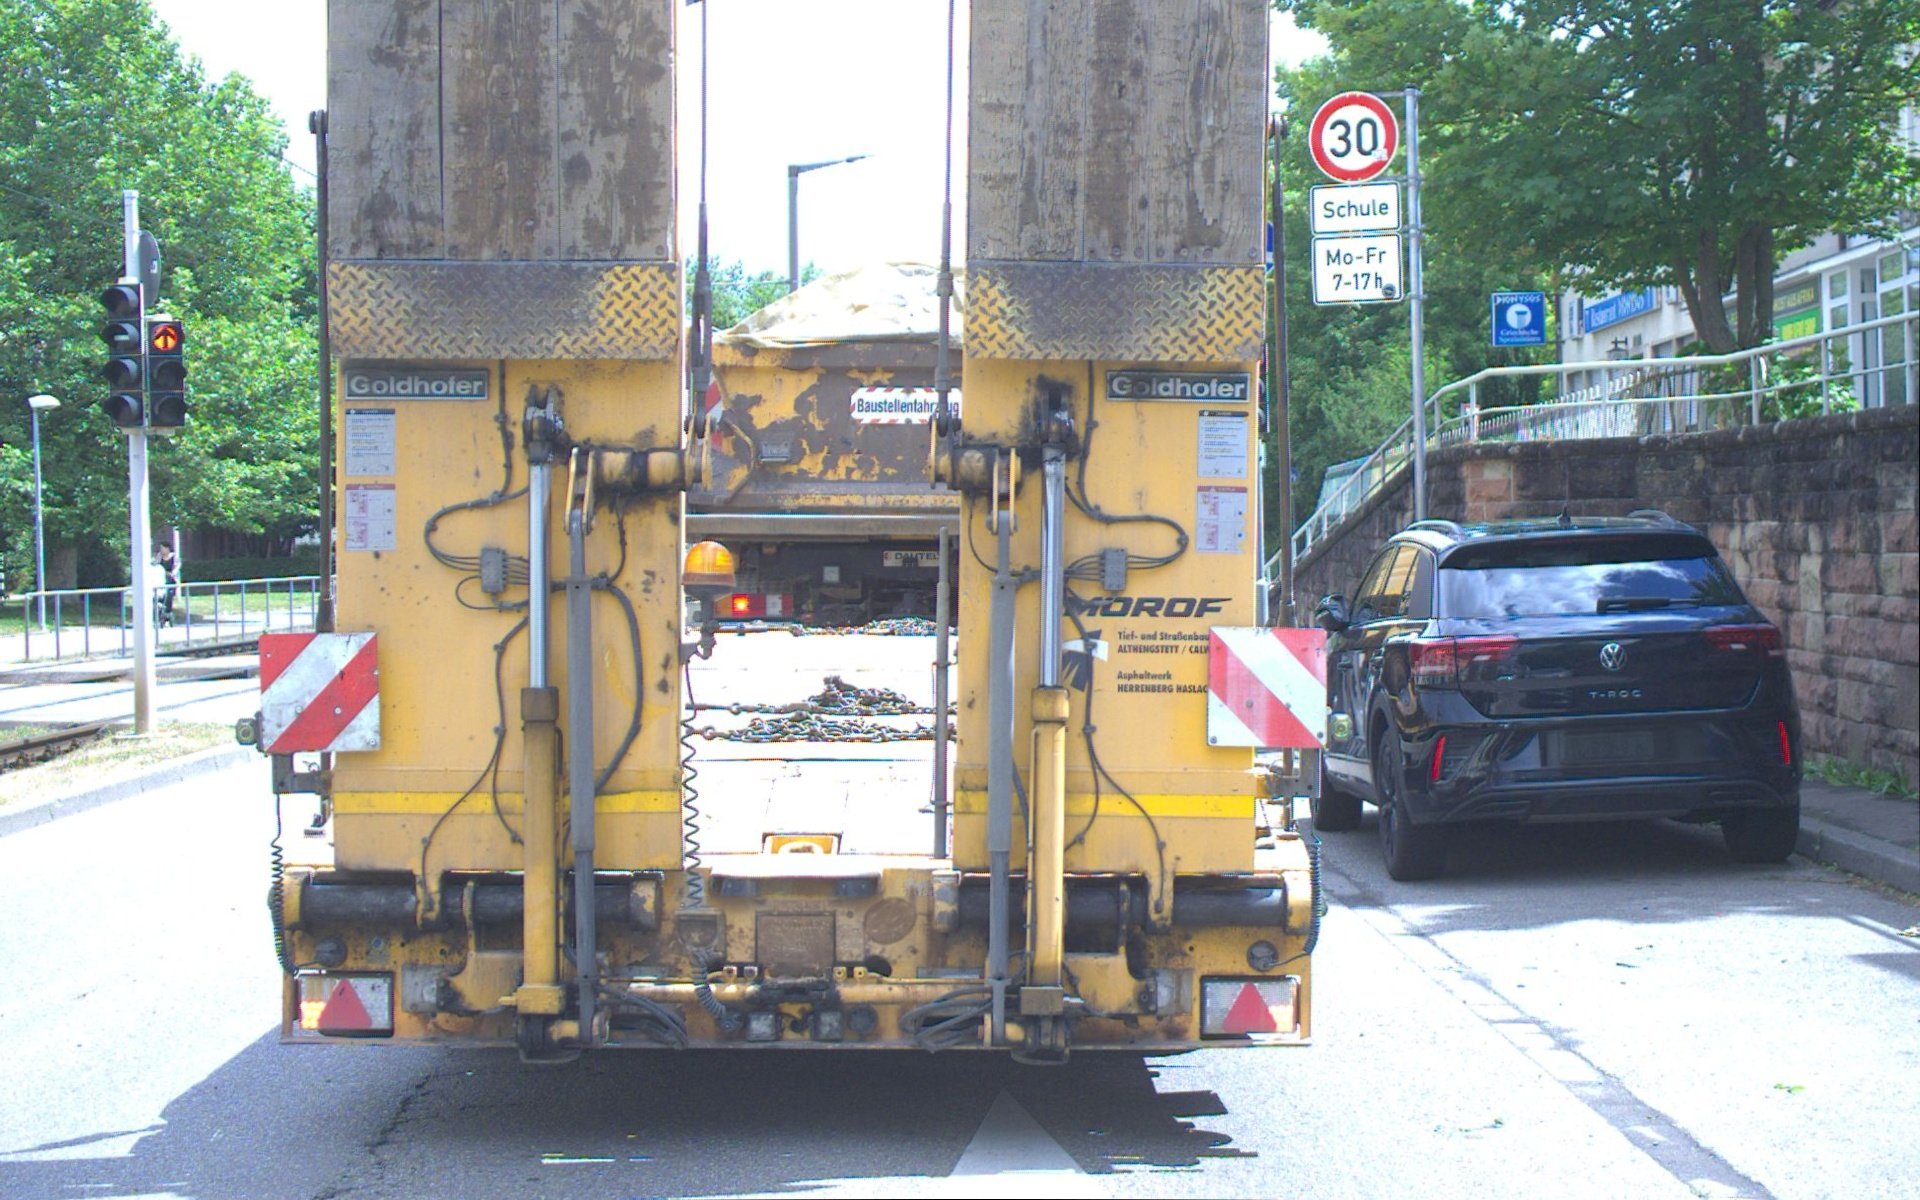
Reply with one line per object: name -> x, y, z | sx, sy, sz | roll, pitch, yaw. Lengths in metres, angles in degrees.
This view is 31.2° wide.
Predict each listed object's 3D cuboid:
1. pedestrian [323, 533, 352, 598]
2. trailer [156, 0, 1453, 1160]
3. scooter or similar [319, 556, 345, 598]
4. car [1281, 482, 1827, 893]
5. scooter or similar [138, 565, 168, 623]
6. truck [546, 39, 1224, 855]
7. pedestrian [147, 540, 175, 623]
pedestrian -> -14.655, -0.822, 80.956 | 0.563, 1.508, 0.646 | 1, 1, -1
trailer -> -0.340, -0.609, 12.264 | 2.945, 3.589, 8.684 | -1, 1, 0
scooter or similar -> -14.668, -0.546, 80.309 | 0.505, 0.968, 0.646 | 1, 1, -1
car -> 2.645, 0.327, 16.223 | 1.851, 1.633, 4.000 | -2, 1, 0
scooter or similar -> -14.976, -0.113, 63.832 | 0.338, 1.054, 0.687 | -1, 1, 4
truck -> -0.325, -0.723, 17.664 | 2.942, 3.560, 4.877 | -1, 1, 0
pedestrian -> -14.988, -0.348, 64.475 | 0.348, 1.531, 0.557 | -1, 1, 3
